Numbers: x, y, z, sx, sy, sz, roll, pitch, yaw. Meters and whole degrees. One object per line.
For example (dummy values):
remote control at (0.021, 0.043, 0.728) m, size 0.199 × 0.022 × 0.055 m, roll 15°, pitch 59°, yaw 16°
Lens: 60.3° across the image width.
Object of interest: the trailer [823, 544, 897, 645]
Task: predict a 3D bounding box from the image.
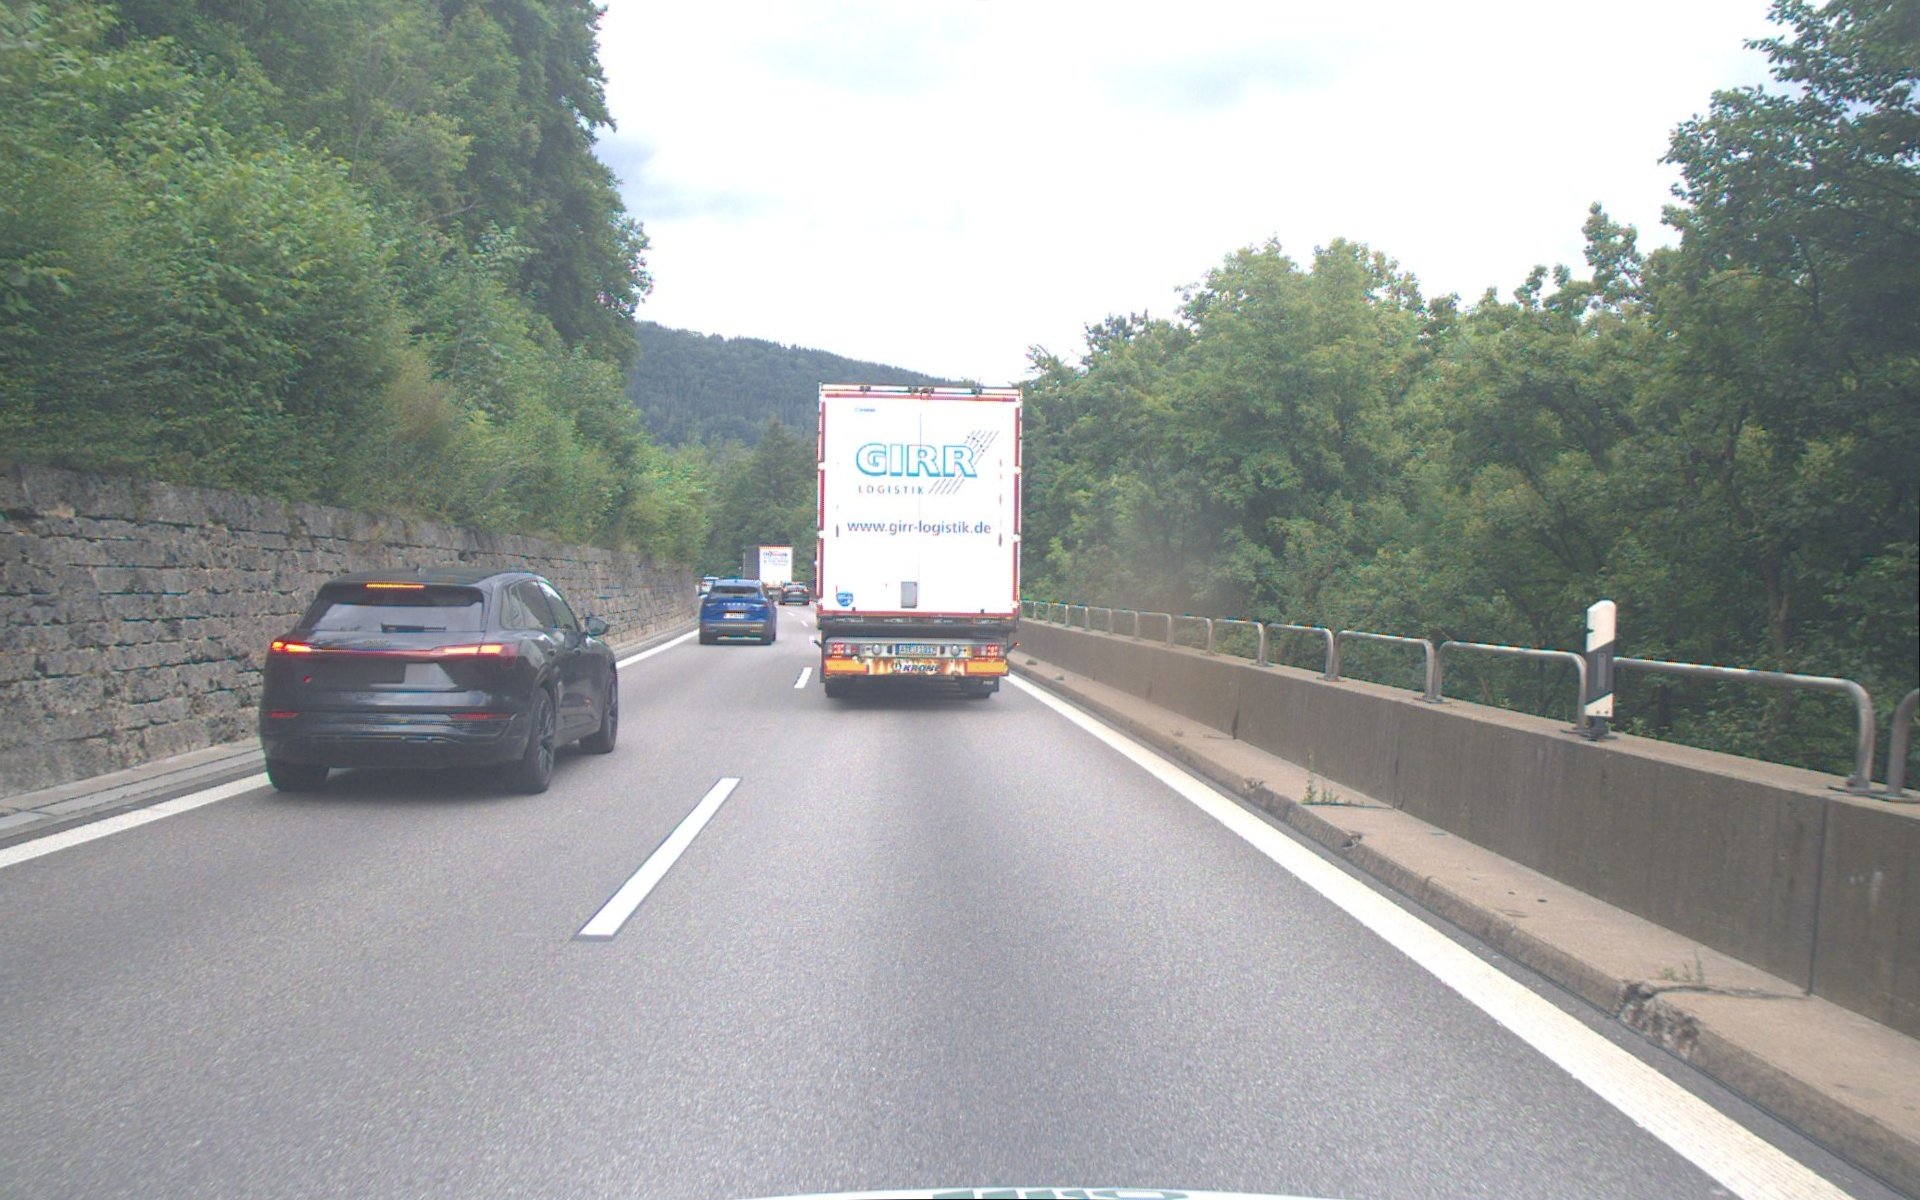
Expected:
trailer at (-3.571, -0.198, 56.936) m, size 2.169 × 3.101 × 11.127 m, roll 1°, pitch 0°, yaw -5°

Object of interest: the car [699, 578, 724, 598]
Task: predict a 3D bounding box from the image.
car at (-20.412, -0.995, 135.752) m, size 1.863 × 1.577 × 4.238 m, roll 2°, pitch 0°, yaw -11°

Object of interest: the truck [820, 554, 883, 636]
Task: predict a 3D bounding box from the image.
truck at (-4.151, -0.193, 62.651) m, size 2.166 × 2.901 × 4.998 m, roll 1°, pitch 0°, yaw -6°

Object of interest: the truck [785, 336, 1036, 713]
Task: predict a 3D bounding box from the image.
truck at (-1.054, -0.951, 27.600) m, size 3.023 × 4.542 × 15.145 m, roll 0°, pitch 0°, yaw -4°

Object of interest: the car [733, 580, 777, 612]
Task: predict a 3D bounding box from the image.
car at (-11.002, -0.223, 88.648) m, size 1.959 × 1.624 × 4.341 m, roll 0°, pitch 1°, yaw -12°

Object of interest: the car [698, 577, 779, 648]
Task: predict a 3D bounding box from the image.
car at (-5.695, 0.282, 42.840) m, size 1.955 × 1.660 × 5.002 m, roll 0°, pitch 2°, yaw -7°

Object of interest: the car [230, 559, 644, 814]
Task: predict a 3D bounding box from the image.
car at (-3.906, 0.550, 13.359) m, size 1.954 × 1.660 × 5.006 m, roll 0°, pitch 0°, yaw -3°

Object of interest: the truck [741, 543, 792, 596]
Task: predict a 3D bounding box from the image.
truck at (-14.940, -2.273, 126.998) m, size 2.588 × 3.925 × 12.320 m, roll 0°, pitch 0°, yaw -12°

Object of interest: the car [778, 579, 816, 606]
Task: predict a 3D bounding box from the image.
car at (-10.426, -0.494, 105.390) m, size 2.024 × 1.683 × 3.989 m, roll 0°, pitch 0°, yaw -11°
